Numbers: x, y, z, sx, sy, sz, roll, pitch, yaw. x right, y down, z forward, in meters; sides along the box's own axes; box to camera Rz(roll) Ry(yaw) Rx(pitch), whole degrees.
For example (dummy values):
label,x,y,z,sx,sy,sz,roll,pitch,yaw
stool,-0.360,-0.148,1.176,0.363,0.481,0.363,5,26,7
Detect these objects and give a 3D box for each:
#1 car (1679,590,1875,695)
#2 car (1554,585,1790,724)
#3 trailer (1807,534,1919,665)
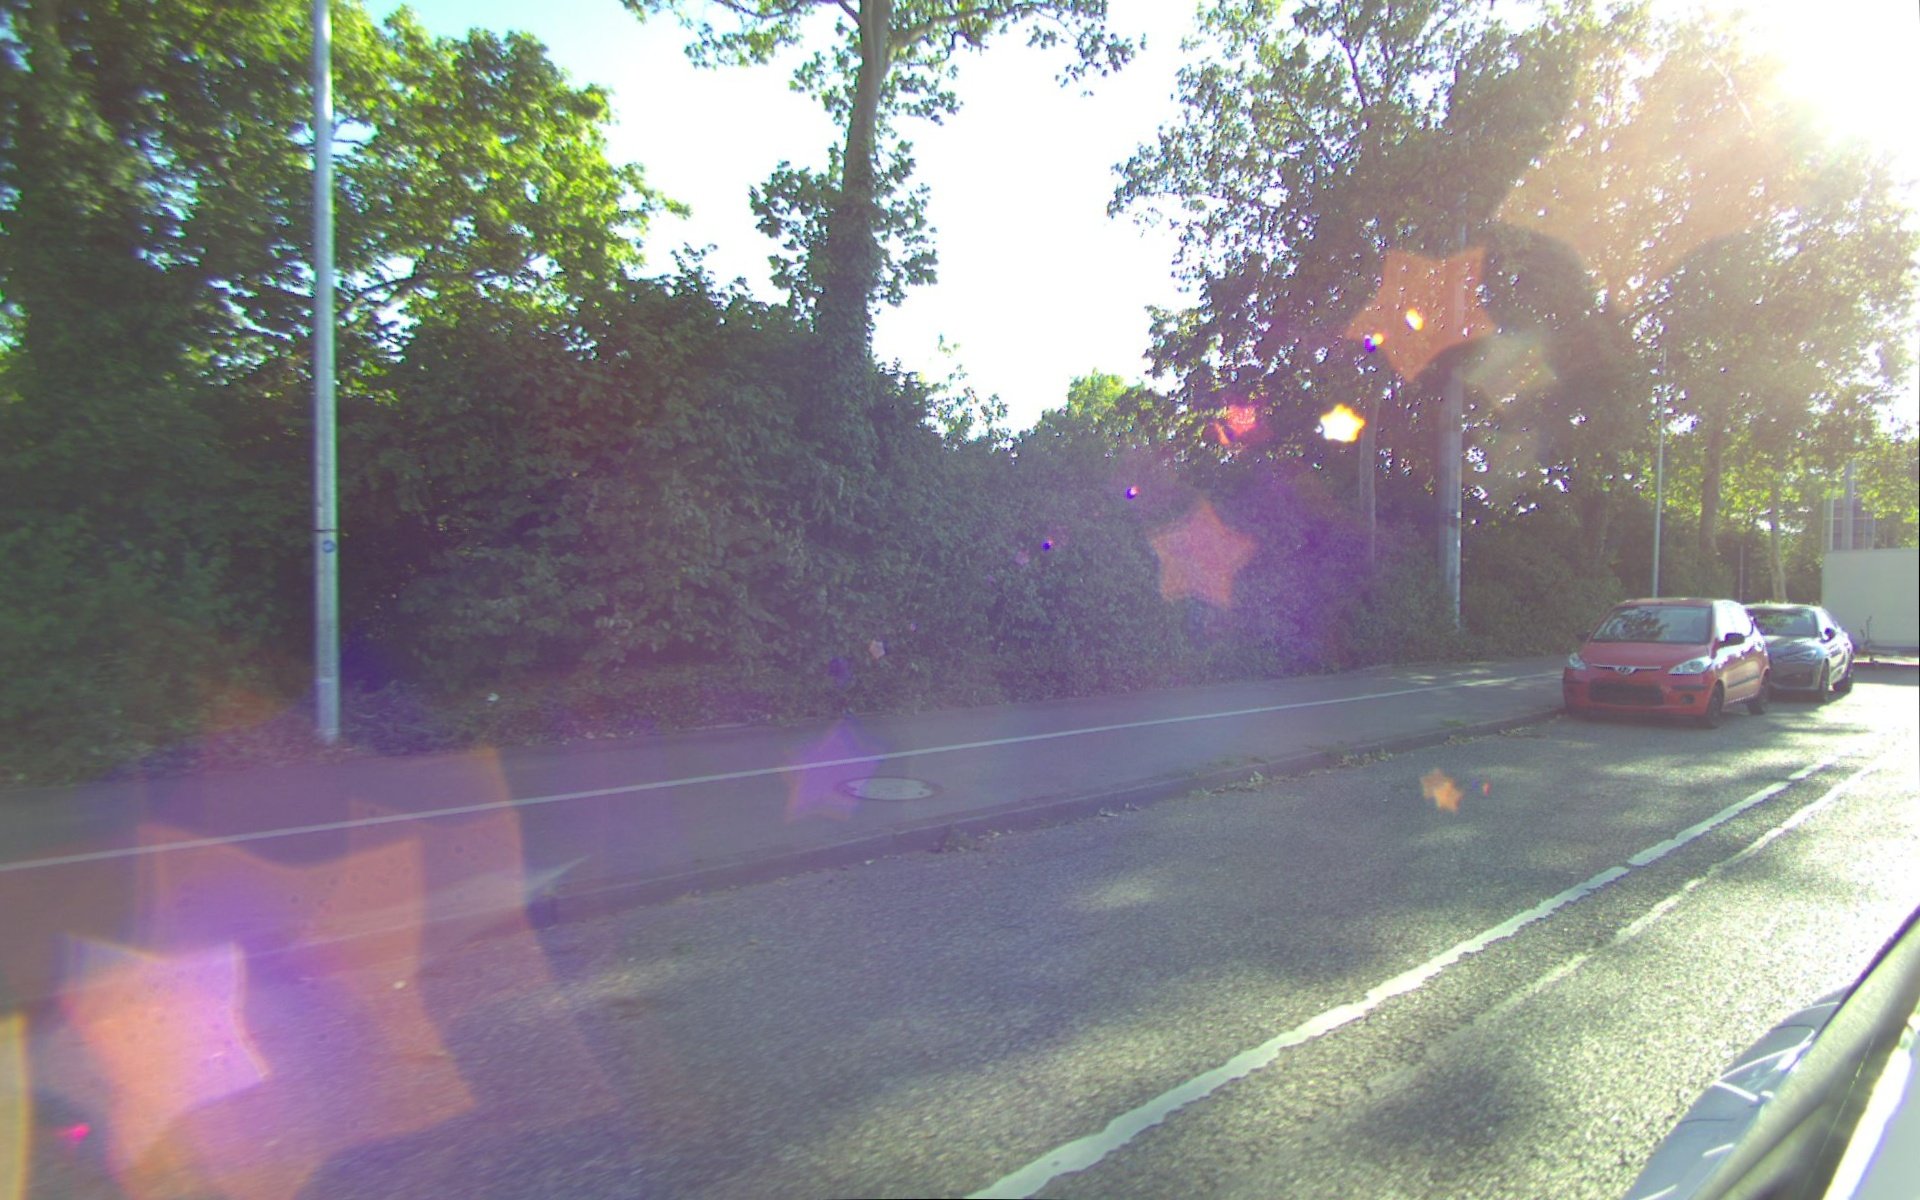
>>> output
label,x,y,z,sx,sy,sz,roll,pitch,yaw
car,13.235,0.593,16.310,4.094,1.475,1.811,0,0,-42
car,9.329,0.616,13.178,3.576,1.556,1.643,0,-1,-40
trailer,21.903,-0.037,23.441,5.837,2.728,2.257,0,1,-37
